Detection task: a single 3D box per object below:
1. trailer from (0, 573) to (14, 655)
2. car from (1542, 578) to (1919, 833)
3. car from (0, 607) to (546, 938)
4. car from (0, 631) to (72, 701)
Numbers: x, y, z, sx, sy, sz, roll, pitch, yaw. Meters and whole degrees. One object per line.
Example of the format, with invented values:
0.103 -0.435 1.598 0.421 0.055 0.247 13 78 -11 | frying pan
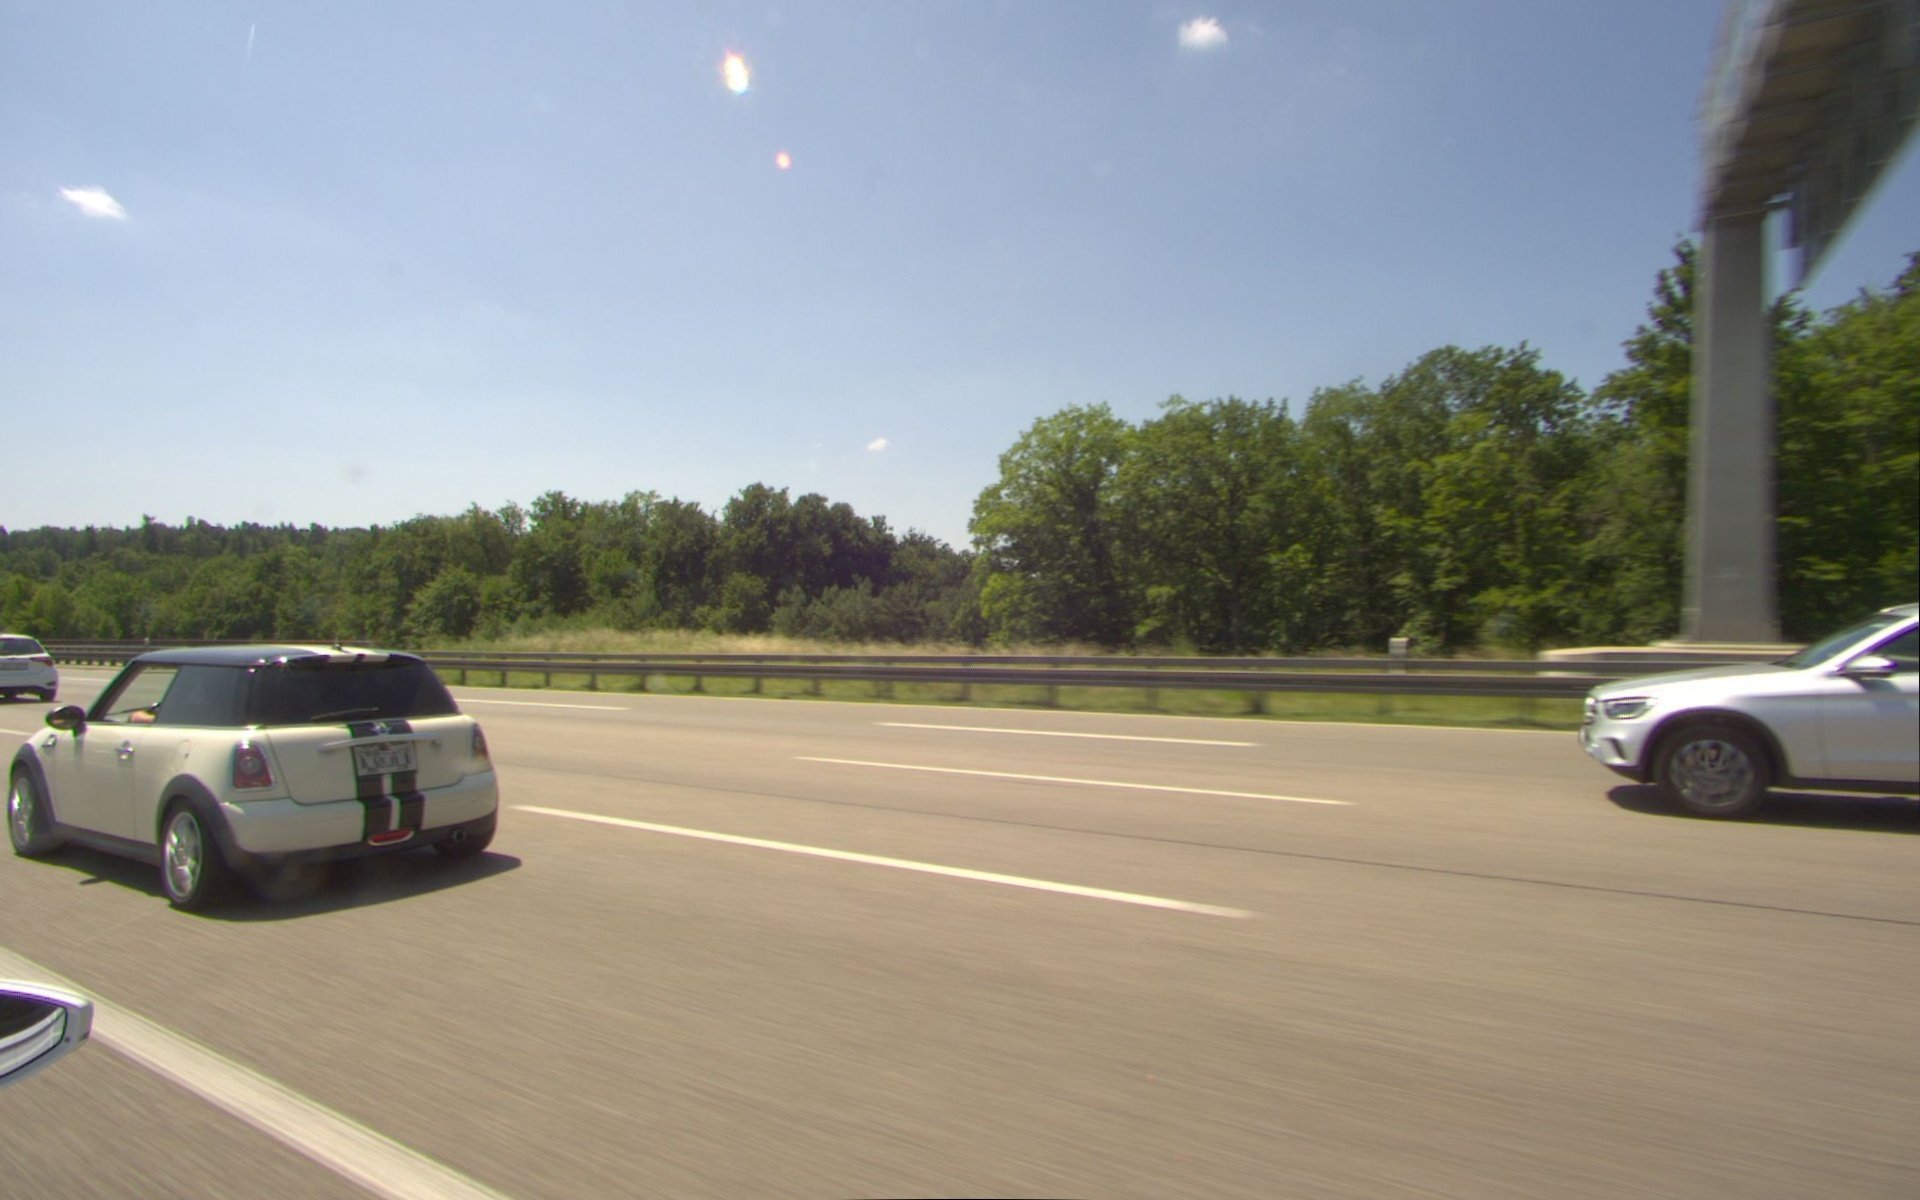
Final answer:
-50.130 0.806 48.599 13.349 3.736 2.851 -2 0 32 | trailer
7.354 0.752 7.467 5.163 1.753 1.798 0 -1 32 | car
-4.832 0.871 6.799 3.943 1.572 1.837 1 0 33 | car
-21.825 1.436 22.481 4.312 1.452 1.663 -1 -1 32 | car
